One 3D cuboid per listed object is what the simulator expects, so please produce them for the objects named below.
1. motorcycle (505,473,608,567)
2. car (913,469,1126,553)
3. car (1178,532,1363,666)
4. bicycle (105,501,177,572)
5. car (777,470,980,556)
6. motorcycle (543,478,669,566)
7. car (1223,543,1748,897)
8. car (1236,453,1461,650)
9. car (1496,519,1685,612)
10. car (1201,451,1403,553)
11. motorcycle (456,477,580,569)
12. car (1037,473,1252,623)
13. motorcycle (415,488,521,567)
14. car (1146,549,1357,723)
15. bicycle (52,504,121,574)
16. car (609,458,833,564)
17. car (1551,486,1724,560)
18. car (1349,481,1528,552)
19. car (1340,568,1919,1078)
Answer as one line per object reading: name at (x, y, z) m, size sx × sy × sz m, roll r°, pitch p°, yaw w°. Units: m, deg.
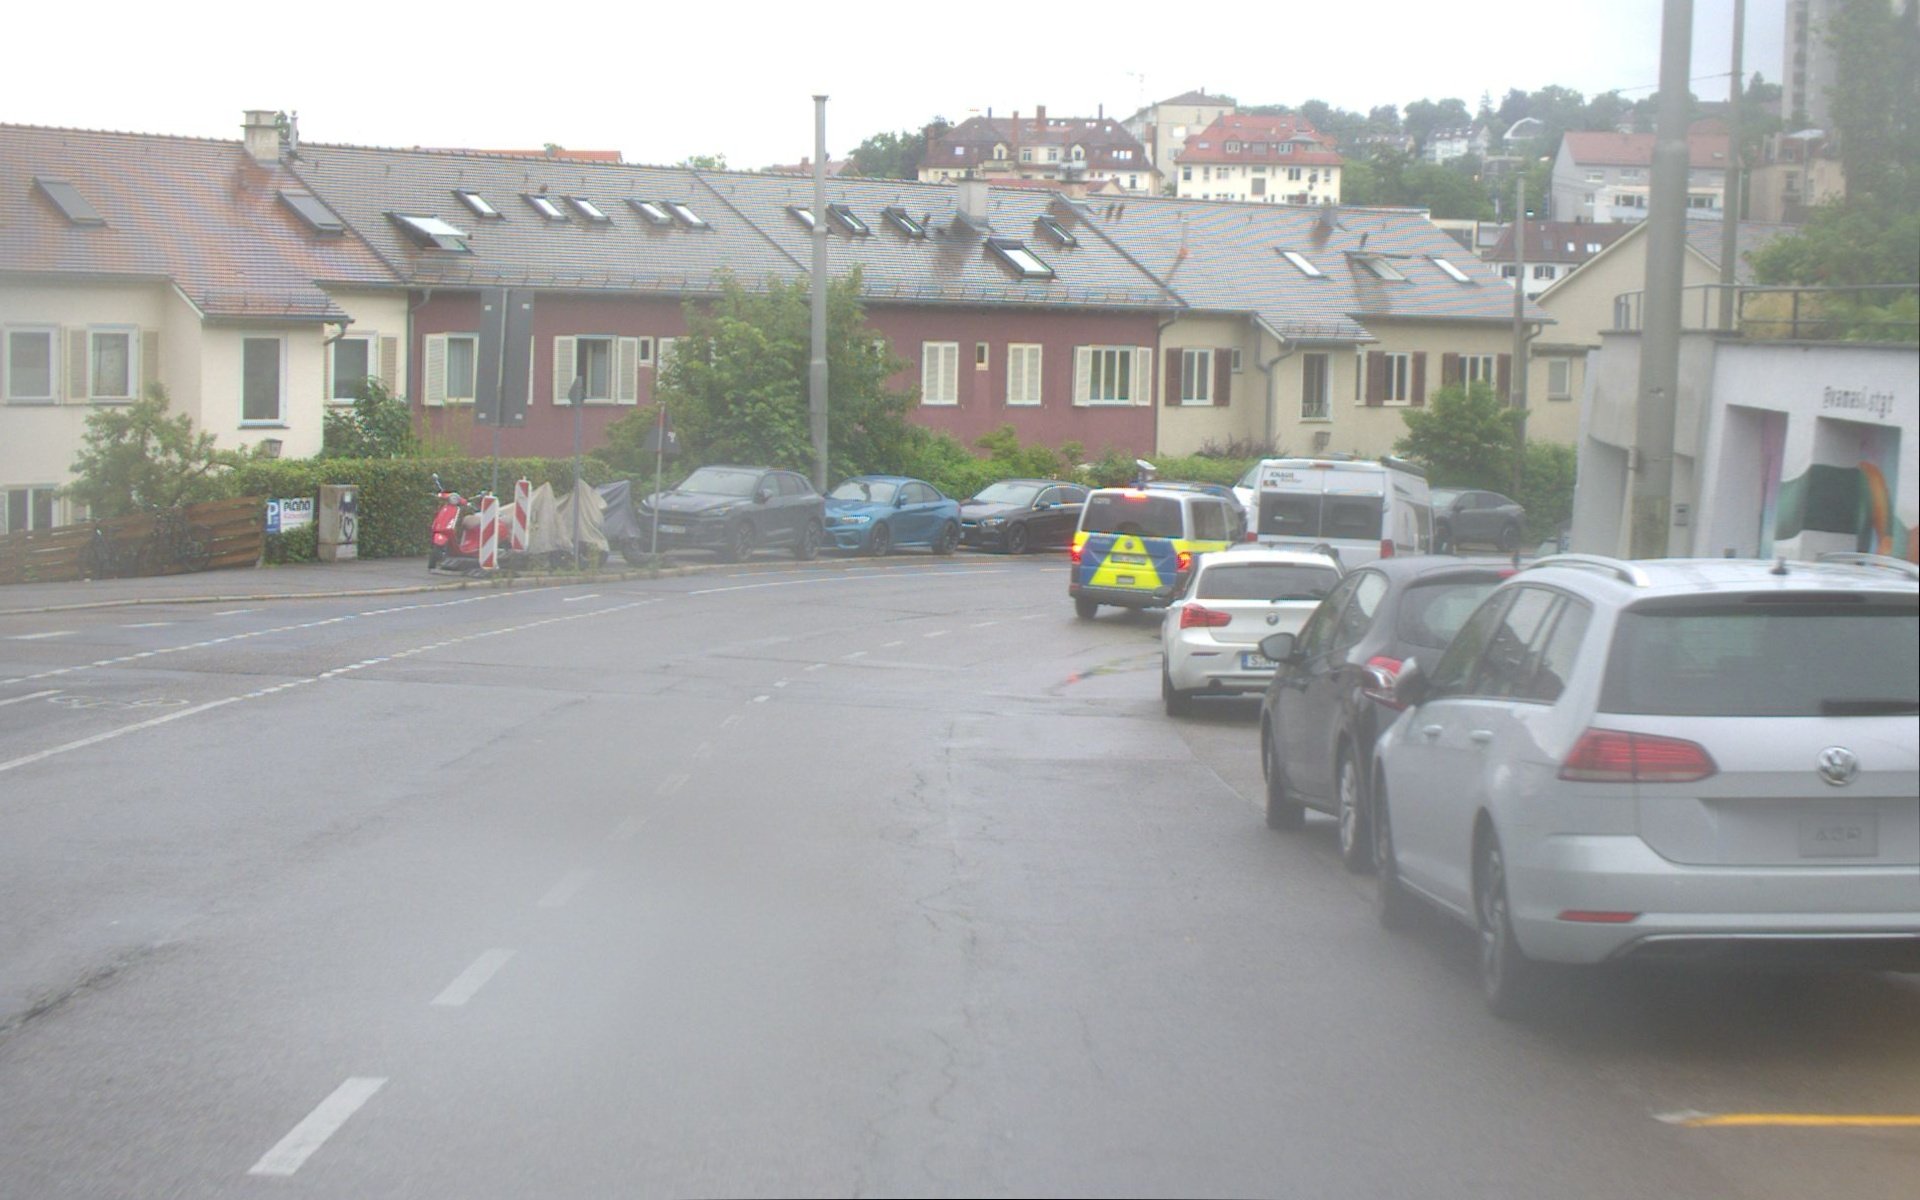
motorcycle at (-6.272, -1.246, 53.381) m, size 0.611 × 1.298 × 1.807 m, roll 1°, pitch 5°, yaw -40°
car at (1.212, -1.746, 68.023) m, size 1.812 × 1.471 × 4.512 m, roll 7°, pitch 4°, yaw 37°
car at (3.922, -0.055, 42.888) m, size 1.754 × 1.490 × 4.182 m, roll 2°, pitch 2°, yaw 12°
bicycle at (-12.351, -0.952, 51.823) m, size 1.302 × 1.031 × 0.304 m, roll -1°, pitch -3°, yaw 39°
car at (-1.457, -1.627, 63.293) m, size 1.702 × 1.399 × 4.466 m, roll 6°, pitch 5°, yaw 27°
motorcycle at (-5.642, -1.244, 54.782) m, size 1.900 × 1.266 × 0.576 m, roll 3°, pitch 4°, yaw -10°
car at (2.446, 0.493, 16.978) m, size 1.713 × 1.508 × 4.001 m, roll 1°, pitch 1°, yaw -4°
car at (5.526, -0.694, 48.193) m, size 2.100 × 2.533 × 5.615 m, roll 2°, pitch 1°, yaw 17°
car at (11.405, -0.619, 61.988) m, size 1.682 × 1.478 × 4.193 m, roll 6°, pitch 4°, yaw 34°
car at (7.732, -2.186, 77.390) m, size 1.853 × 2.071 × 5.009 m, roll 7°, pitch 5°, yaw 40°
motorcycle at (-6.742, -1.185, 52.445) m, size 1.803 × 1.274 × 0.510 m, roll 5°, pitch 4°, yaw 22°
car at (2.800, -0.826, 51.159) m, size 2.310 × 1.932 × 4.323 m, roll 5°, pitch 4°, yaw 13°
motorcycle at (-7.266, -1.087, 50.834) m, size 0.510 × 1.136 × 1.919 m, roll 2°, pitch 3°, yaw 28°
car at (2.563, 0.272, 30.924) m, size 1.705 × 1.409 × 4.041 m, roll 1°, pitch 1°, yaw 3°
bicycle at (-13.406, -0.931, 52.762) m, size 1.327 × 1.031 × 0.304 m, roll -1°, pitch -3°, yaw 40°
car at (-4.011, -1.543, 58.551) m, size 1.924 × 1.571 × 4.383 m, roll 6°, pitch 4°, yaw 23°
car at (17.304, -1.945, 87.721) m, size 4.665 × 1.625 × 1.935 m, roll 1°, pitch 5°, yaw -45°
car at (11.416, -1.979, 81.817) m, size 1.813 × 1.471 × 4.510 m, roll 7°, pitch 5°, yaw 44°
car at (2.487, 0.614, 11.960) m, size 1.781 × 1.415 × 4.430 m, roll 0°, pitch 1°, yaw -1°
